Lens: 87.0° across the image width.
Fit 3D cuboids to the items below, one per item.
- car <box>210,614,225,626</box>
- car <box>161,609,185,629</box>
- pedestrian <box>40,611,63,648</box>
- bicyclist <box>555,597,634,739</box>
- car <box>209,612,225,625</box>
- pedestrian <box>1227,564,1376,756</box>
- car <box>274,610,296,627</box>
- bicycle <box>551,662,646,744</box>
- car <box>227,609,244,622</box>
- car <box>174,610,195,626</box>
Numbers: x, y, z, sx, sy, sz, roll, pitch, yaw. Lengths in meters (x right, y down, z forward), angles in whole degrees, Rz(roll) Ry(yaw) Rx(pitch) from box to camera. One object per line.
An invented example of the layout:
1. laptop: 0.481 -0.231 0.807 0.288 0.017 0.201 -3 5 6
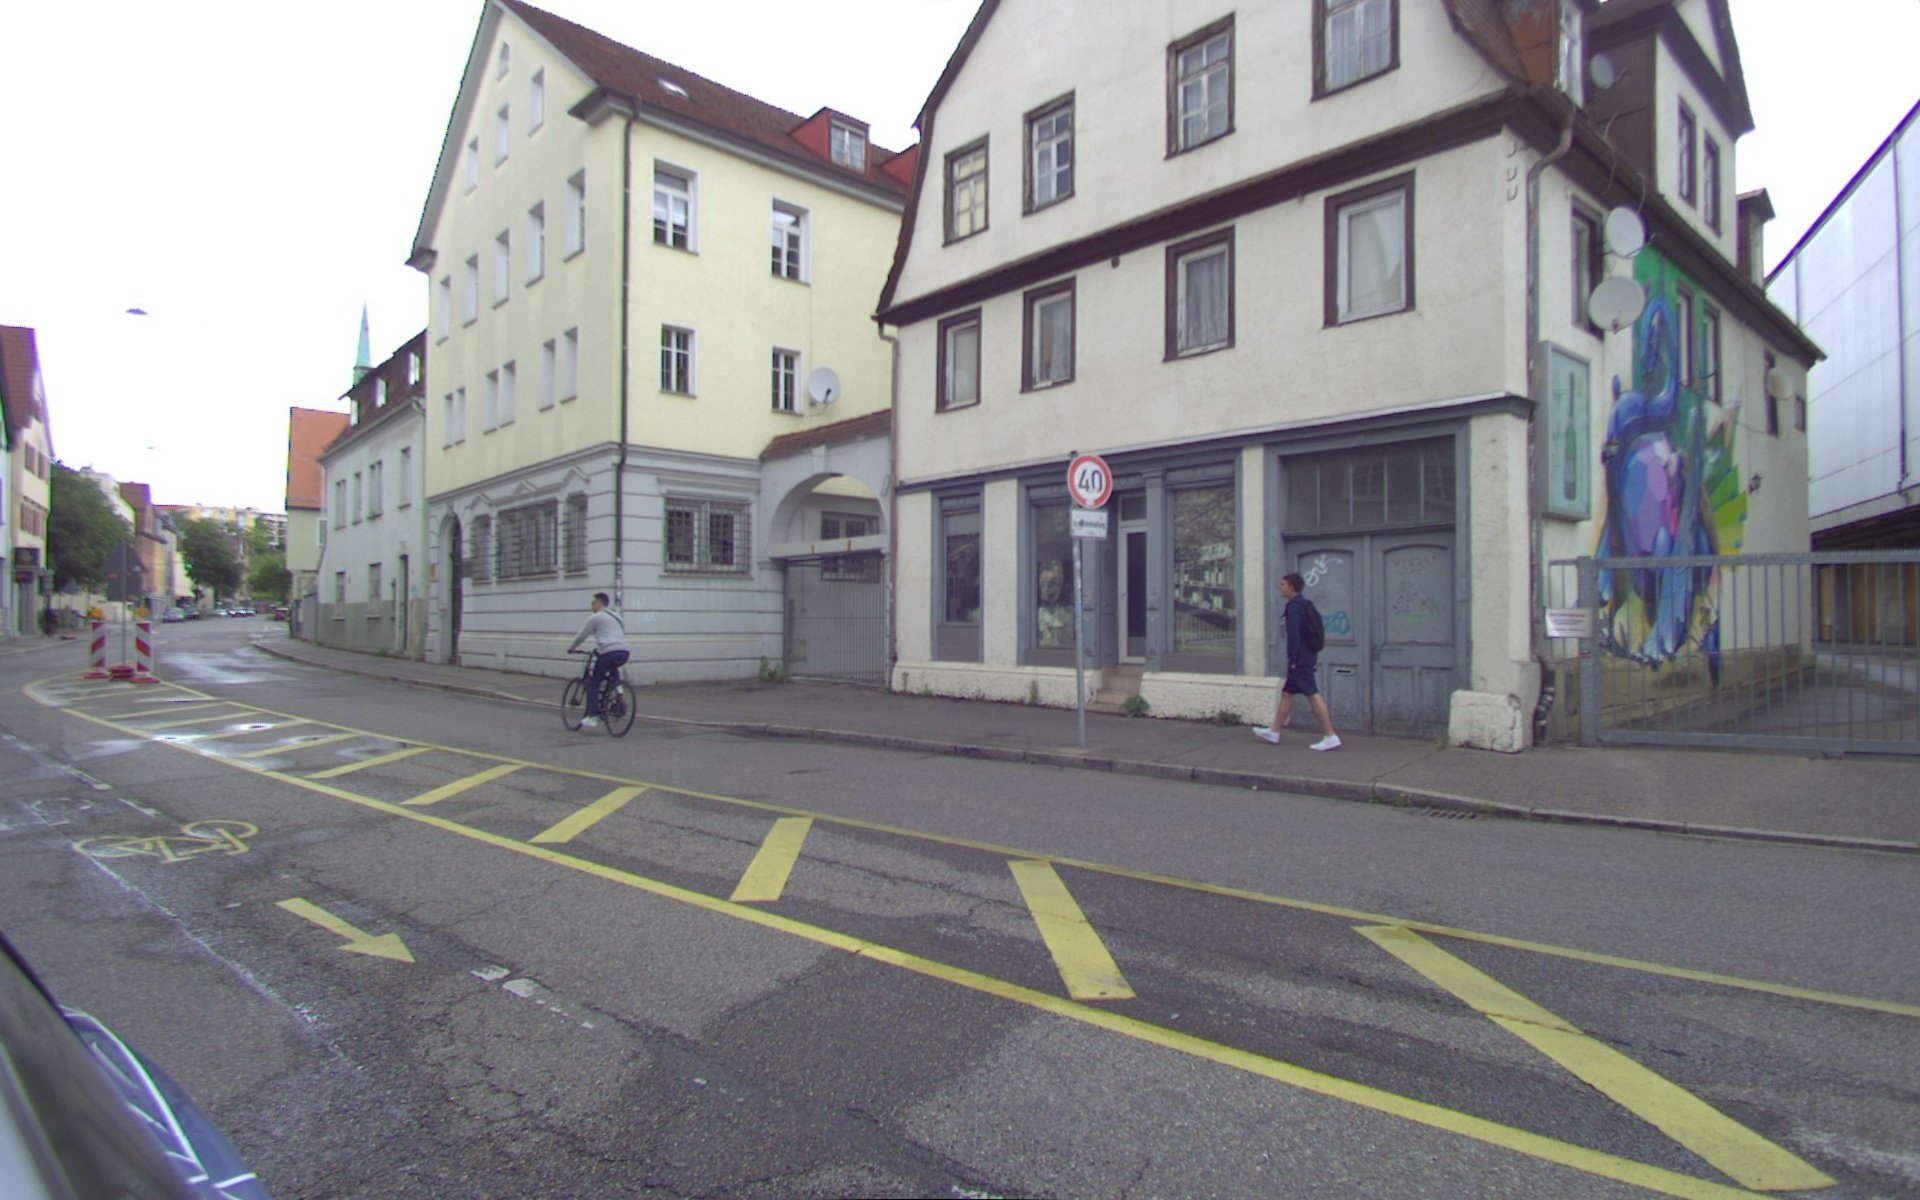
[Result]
1. car: -123.443 3.347 168.241 1.967 2.029 4.009 1 -2 -37
2. car: -84.778 2.078 109.053 1.967 2.029 4.009 1 -2 -37
3. pedestrian: -48.781 1.583 54.348 0.865 1.914 0.898 1 -2 -43
4. bicyclist: -4.604 0.835 12.748 0.714 1.714 0.812 1 -2 -38
5. car: -114.749 2.885 156.236 1.967 2.029 4.009 1 -2 -37
6. pedestrian: 3.632 0.606 10.770 1.092 1.900 1.042 -4 -2 44
7. car: -85.648 2.350 128.368 2.027 2.029 4.009 1 -2 -37
8. bicycle: -4.573 1.263 12.735 0.534 0.899 1.883 1 -2 -39
9. car: -112.757 2.392 157.499 1.967 2.029 4.009 1 -2 -37
10. car: -97.079 2.268 126.726 1.967 2.029 4.009 1 -2 -37
